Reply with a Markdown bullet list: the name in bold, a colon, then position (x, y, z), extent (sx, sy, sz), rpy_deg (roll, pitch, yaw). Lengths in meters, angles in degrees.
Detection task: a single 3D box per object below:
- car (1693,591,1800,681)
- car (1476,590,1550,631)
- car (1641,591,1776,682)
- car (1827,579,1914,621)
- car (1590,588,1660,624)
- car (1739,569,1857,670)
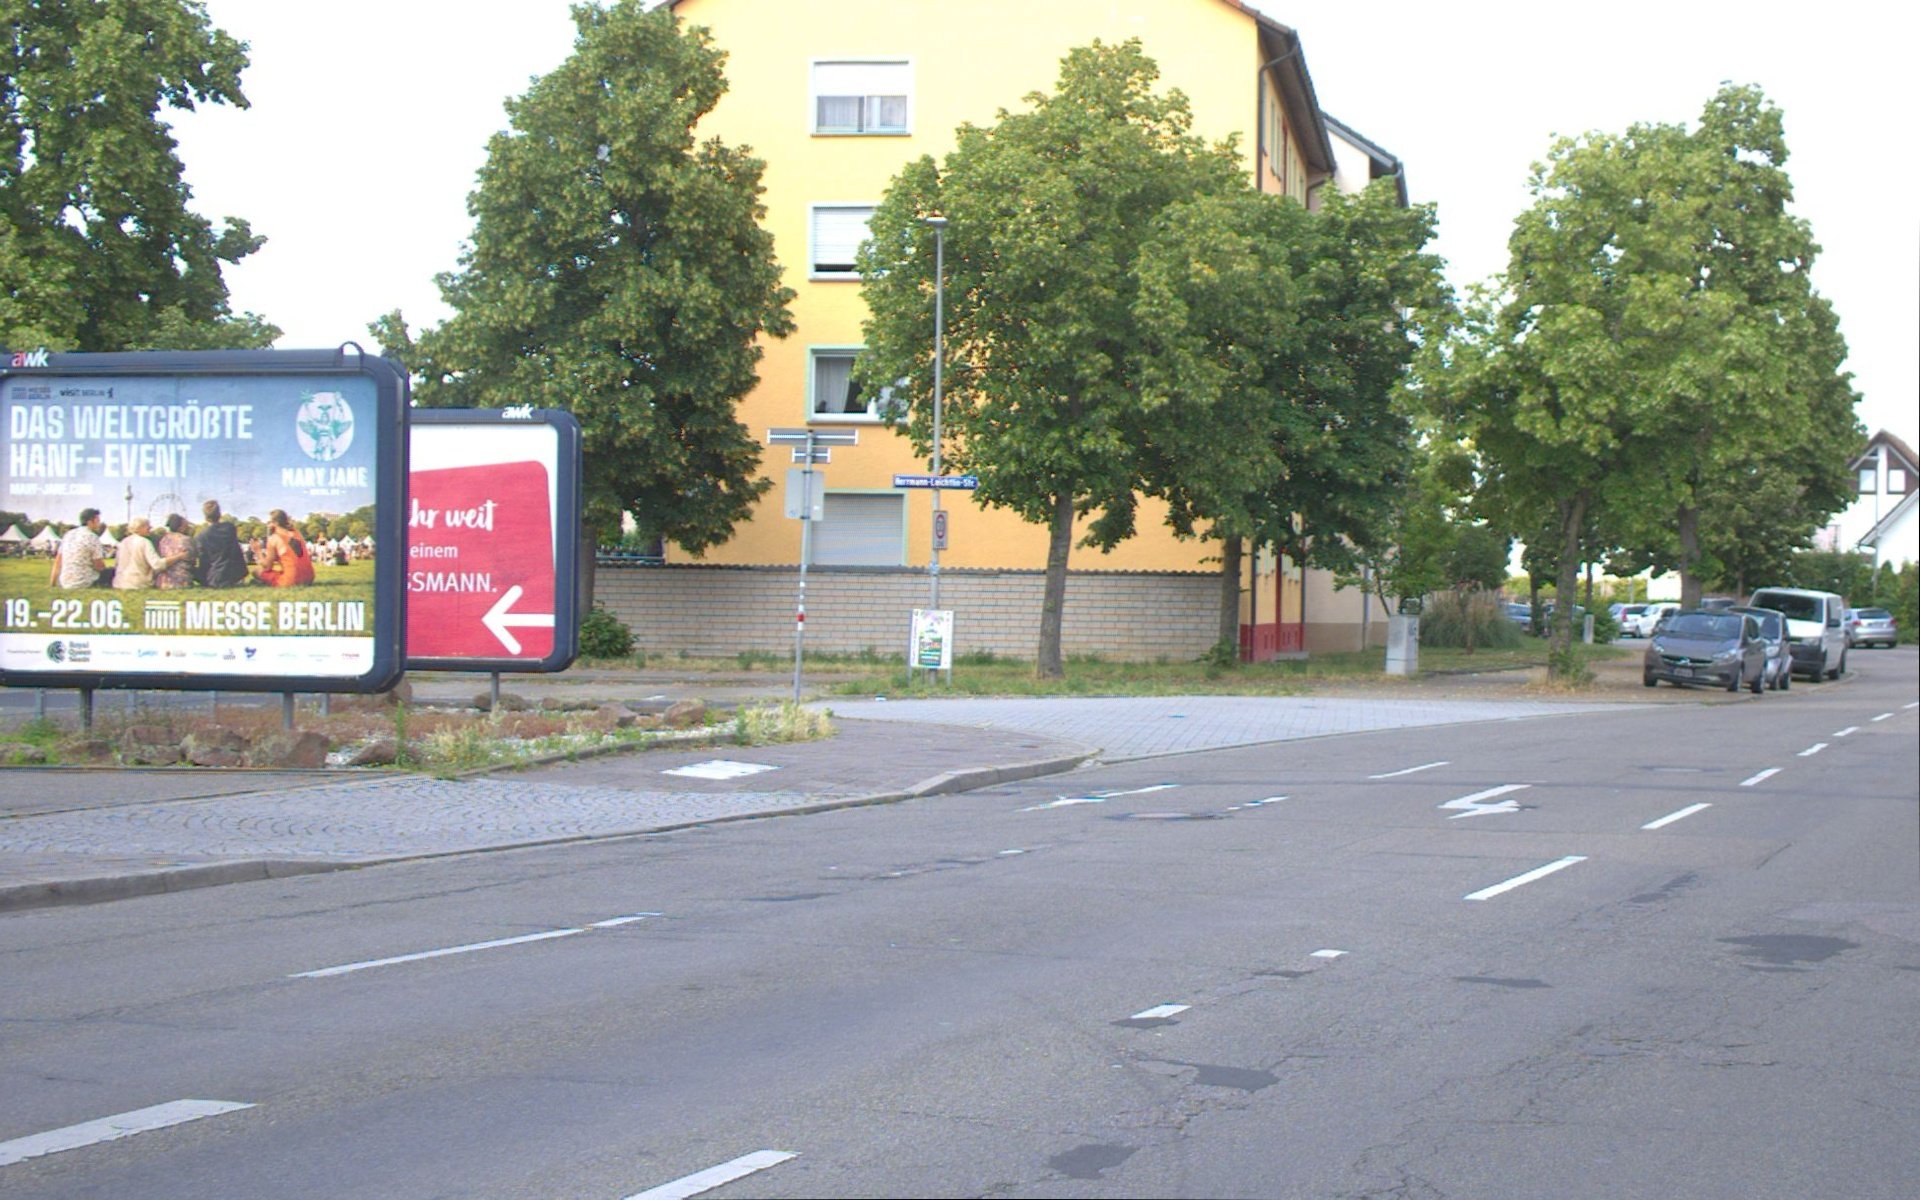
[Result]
- **car**: position (15.548, 0.683, 67.878), extent (1.519, 1.544, 3.752), rpy_deg (6, 3, 19)
- **car**: position (21.749, 0.394, 135.316), extent (1.787, 1.452, 4.436), rpy_deg (5, 0, -5)
- **car**: position (13.483, 0.670, 61.797), extent (1.686, 1.481, 3.979), rpy_deg (4, 0, 21)
- **car**: position (32.550, -0.002, 123.010), extent (1.737, 1.452, 4.365), rpy_deg (1, 0, -3)
- **car**: position (29.219, 0.247, 151.194), extent (1.794, 1.518, 3.974), rpy_deg (1, 0, -8)
- **car**: position (18.372, 0.390, 75.212), extent (1.881, 2.002, 5.317), rpy_deg (5, 2, 19)
